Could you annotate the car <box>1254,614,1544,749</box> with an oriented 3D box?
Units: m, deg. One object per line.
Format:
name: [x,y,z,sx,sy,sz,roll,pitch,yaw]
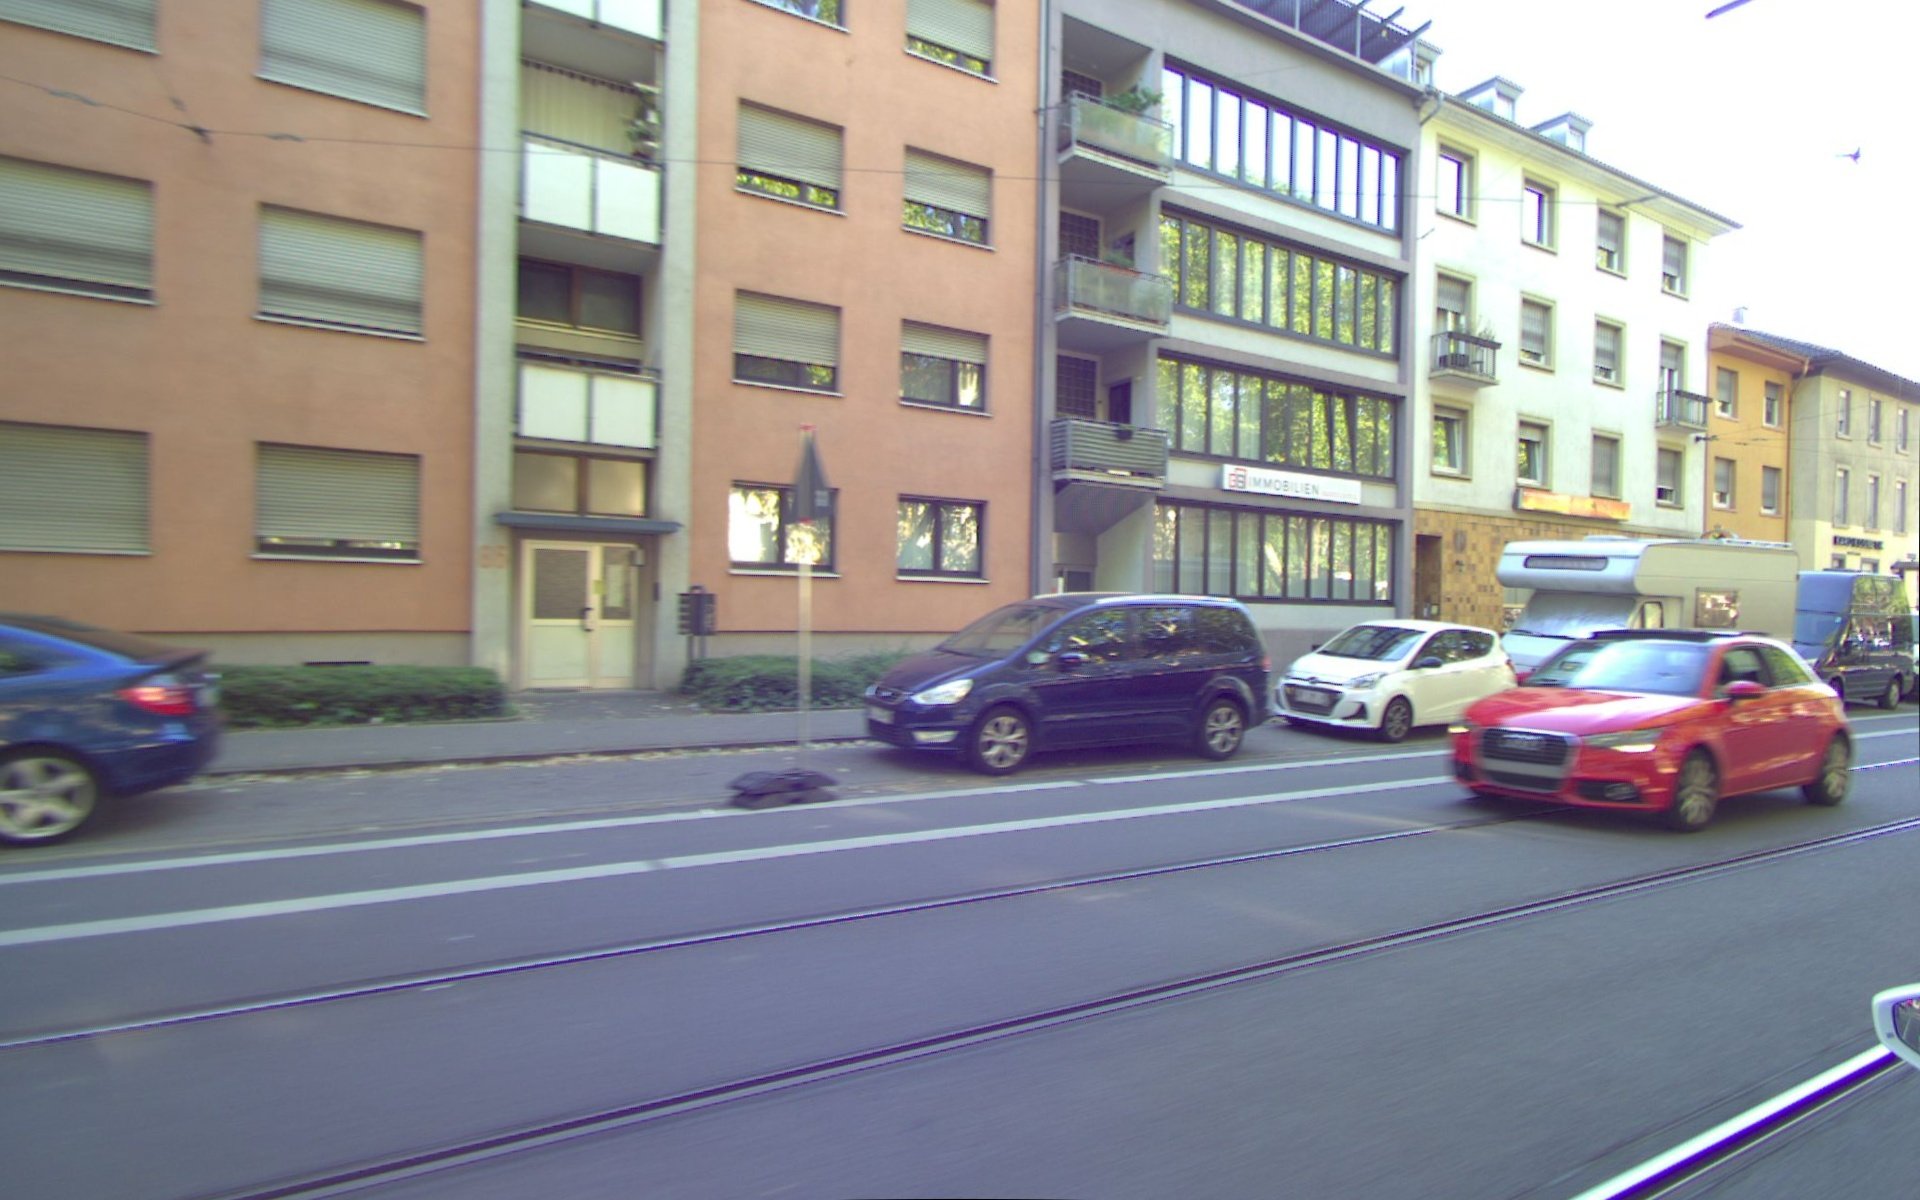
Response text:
car: [6.035,1.018,13.736,3.818,1.508,1.701,1,3,-31]

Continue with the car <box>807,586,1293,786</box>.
car: [1.077,0.773,10.787,5.013,1.709,1.942,1,1,-31]

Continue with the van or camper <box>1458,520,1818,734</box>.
van or camper: [11.574,0.397,17.023,6.320,3.082,2.327,1,3,-29]

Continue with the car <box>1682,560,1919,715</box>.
car: [17.197,0.688,20.350,5.247,2.768,2.076,1,3,-30]

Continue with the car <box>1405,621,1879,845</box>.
car: [5.715,0.926,8.325,4.021,1.456,1.715,1,-2,-31]

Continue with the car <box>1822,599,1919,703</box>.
car: [22.356,1.121,23.376,5.190,2.120,1.941,0,3,-32]

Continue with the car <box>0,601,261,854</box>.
car: [-6.989,0.740,6.126,4.333,1.420,1.729,1,2,-31]
